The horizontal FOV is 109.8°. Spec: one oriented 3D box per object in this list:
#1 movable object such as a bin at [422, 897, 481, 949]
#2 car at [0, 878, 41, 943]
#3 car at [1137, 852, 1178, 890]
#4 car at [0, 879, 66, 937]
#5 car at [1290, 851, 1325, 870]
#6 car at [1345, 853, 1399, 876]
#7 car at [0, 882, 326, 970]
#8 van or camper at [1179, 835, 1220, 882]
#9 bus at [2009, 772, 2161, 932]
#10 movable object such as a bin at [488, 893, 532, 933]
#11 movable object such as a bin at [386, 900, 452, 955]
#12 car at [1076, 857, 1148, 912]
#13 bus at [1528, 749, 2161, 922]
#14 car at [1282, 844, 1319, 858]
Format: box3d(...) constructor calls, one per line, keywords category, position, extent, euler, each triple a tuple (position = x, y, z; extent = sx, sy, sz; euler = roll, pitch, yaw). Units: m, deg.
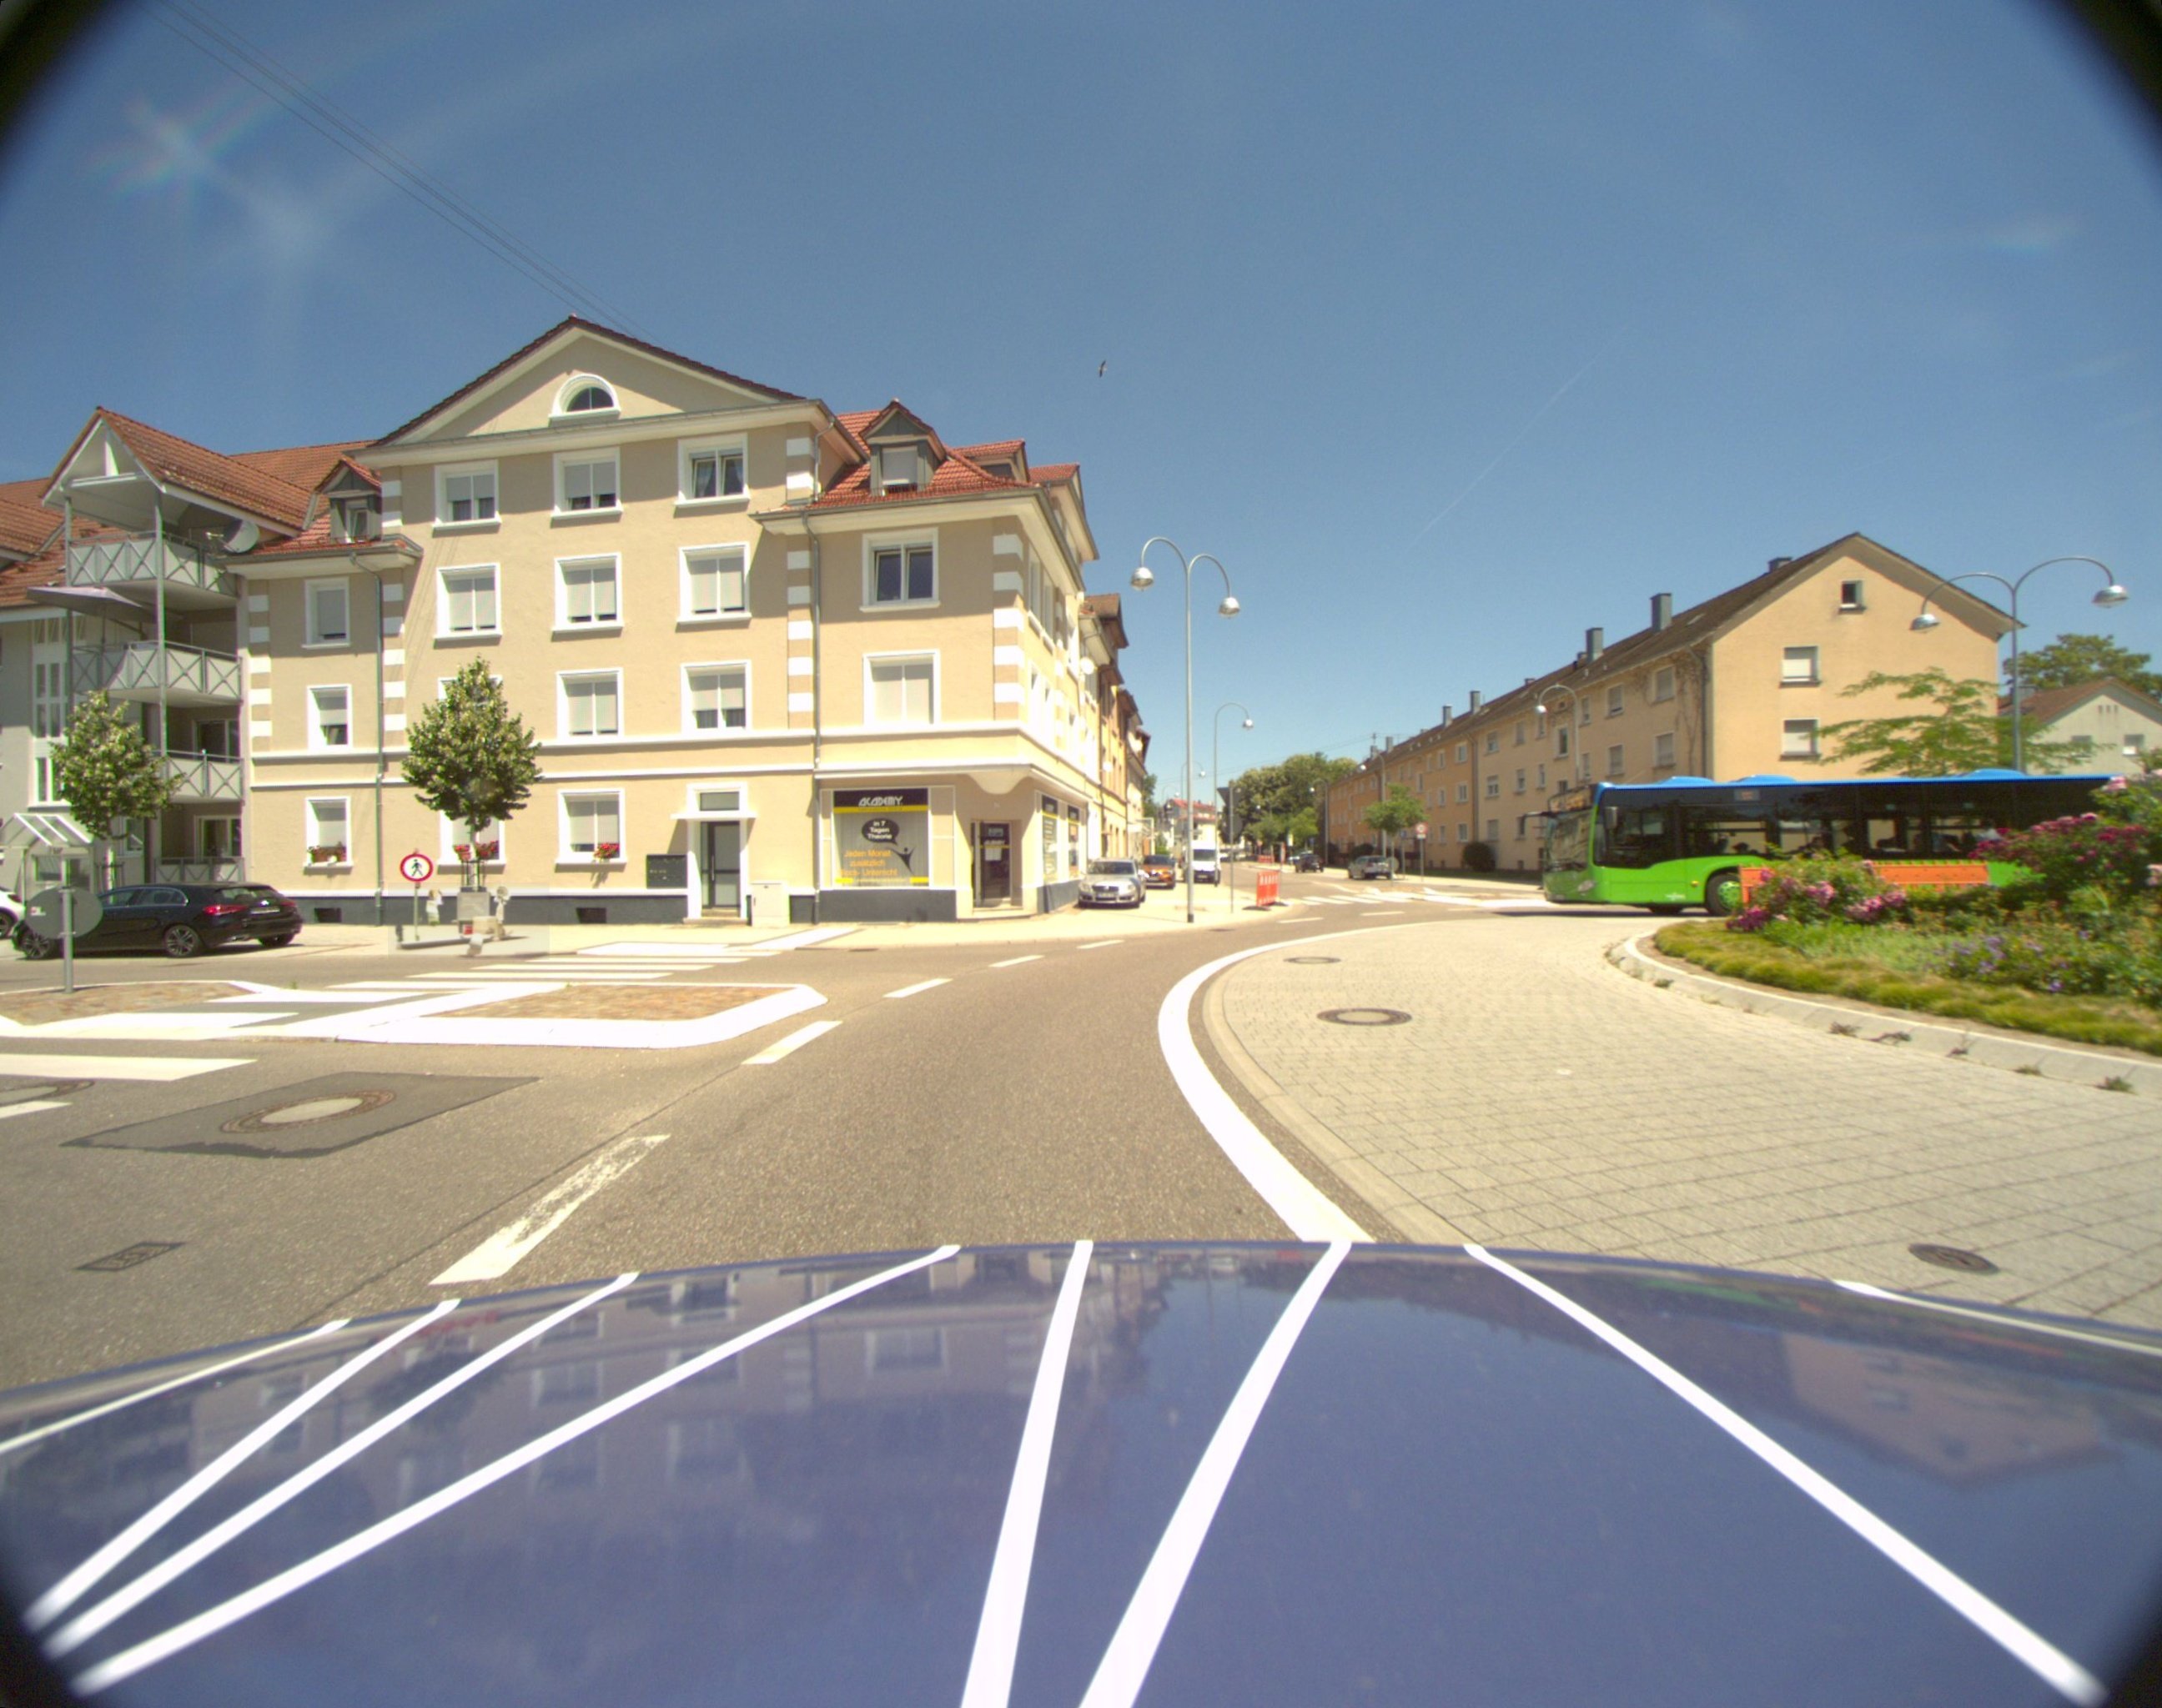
box3d(category="movable object such as a bin", position=(-13.540, 1.469, 16.362), extent=(0.703, 1.049, 0.642), euler=(-1, 1, 7))
box3d(category="car", position=(-26.907, 1.408, 16.709), extent=(1.903, 1.515, 4.298), euler=(-1, 1, 11))
box3d(category="car", position=(3.643, 0.750, 35.544), extent=(1.676, 1.610, 4.366), euler=(2, 0, 8))
box3d(category="car", position=(-28.699, 1.449, 18.513), extent=(1.903, 1.428, 4.298), euler=(-1, 1, 11))
box3d(category="car", position=(19.472, 0.512, 65.459), extent=(1.861, 1.498, 4.564), euler=(-3, 0, 4))
box3d(category="car", position=(18.622, 0.656, 48.835), extent=(1.998, 1.412, 4.089), euler=(-1, 0, 1))
box3d(category="car", position=(-18.279, 1.386, 15.216), extent=(4.170, 1.428, 1.905), euler=(-1, 2, -5))
box3d(category="van or camper", position=(6.939, 0.248, 45.085), extent=(2.169, 2.574, 5.769), euler=(0, 0, 7))
box3d(category="bus", position=(25.458, -0.182, 15.267), extent=(8.910, 3.091, 2.833), euler=(-2, -2, 9))
box3d(category="movable object such as a bin", position=(-14.284, 1.457, 19.013), extent=(0.579, 0.930, 0.656), euler=(-1, 2, 0))
box3d(category="movable object such as a bin", position=(-13.548, 1.495, 15.569), extent=(0.703, 1.049, 0.671), euler=(-1, 2, 7))
box3d(category="car", position=(1.056, 0.857, 23.582), extent=(1.767, 1.521, 4.693), euler=(0, 0, 8))
box3d(category="bus", position=(15.957, -0.271, 16.799), extent=(10.068, 3.304, 2.967), euler=(-1, -1, 10))
box3d(category="car", position=(29.744, -0.411, 102.798), extent=(4.436, 1.863, 1.818), euler=(-1, 1, -5))
